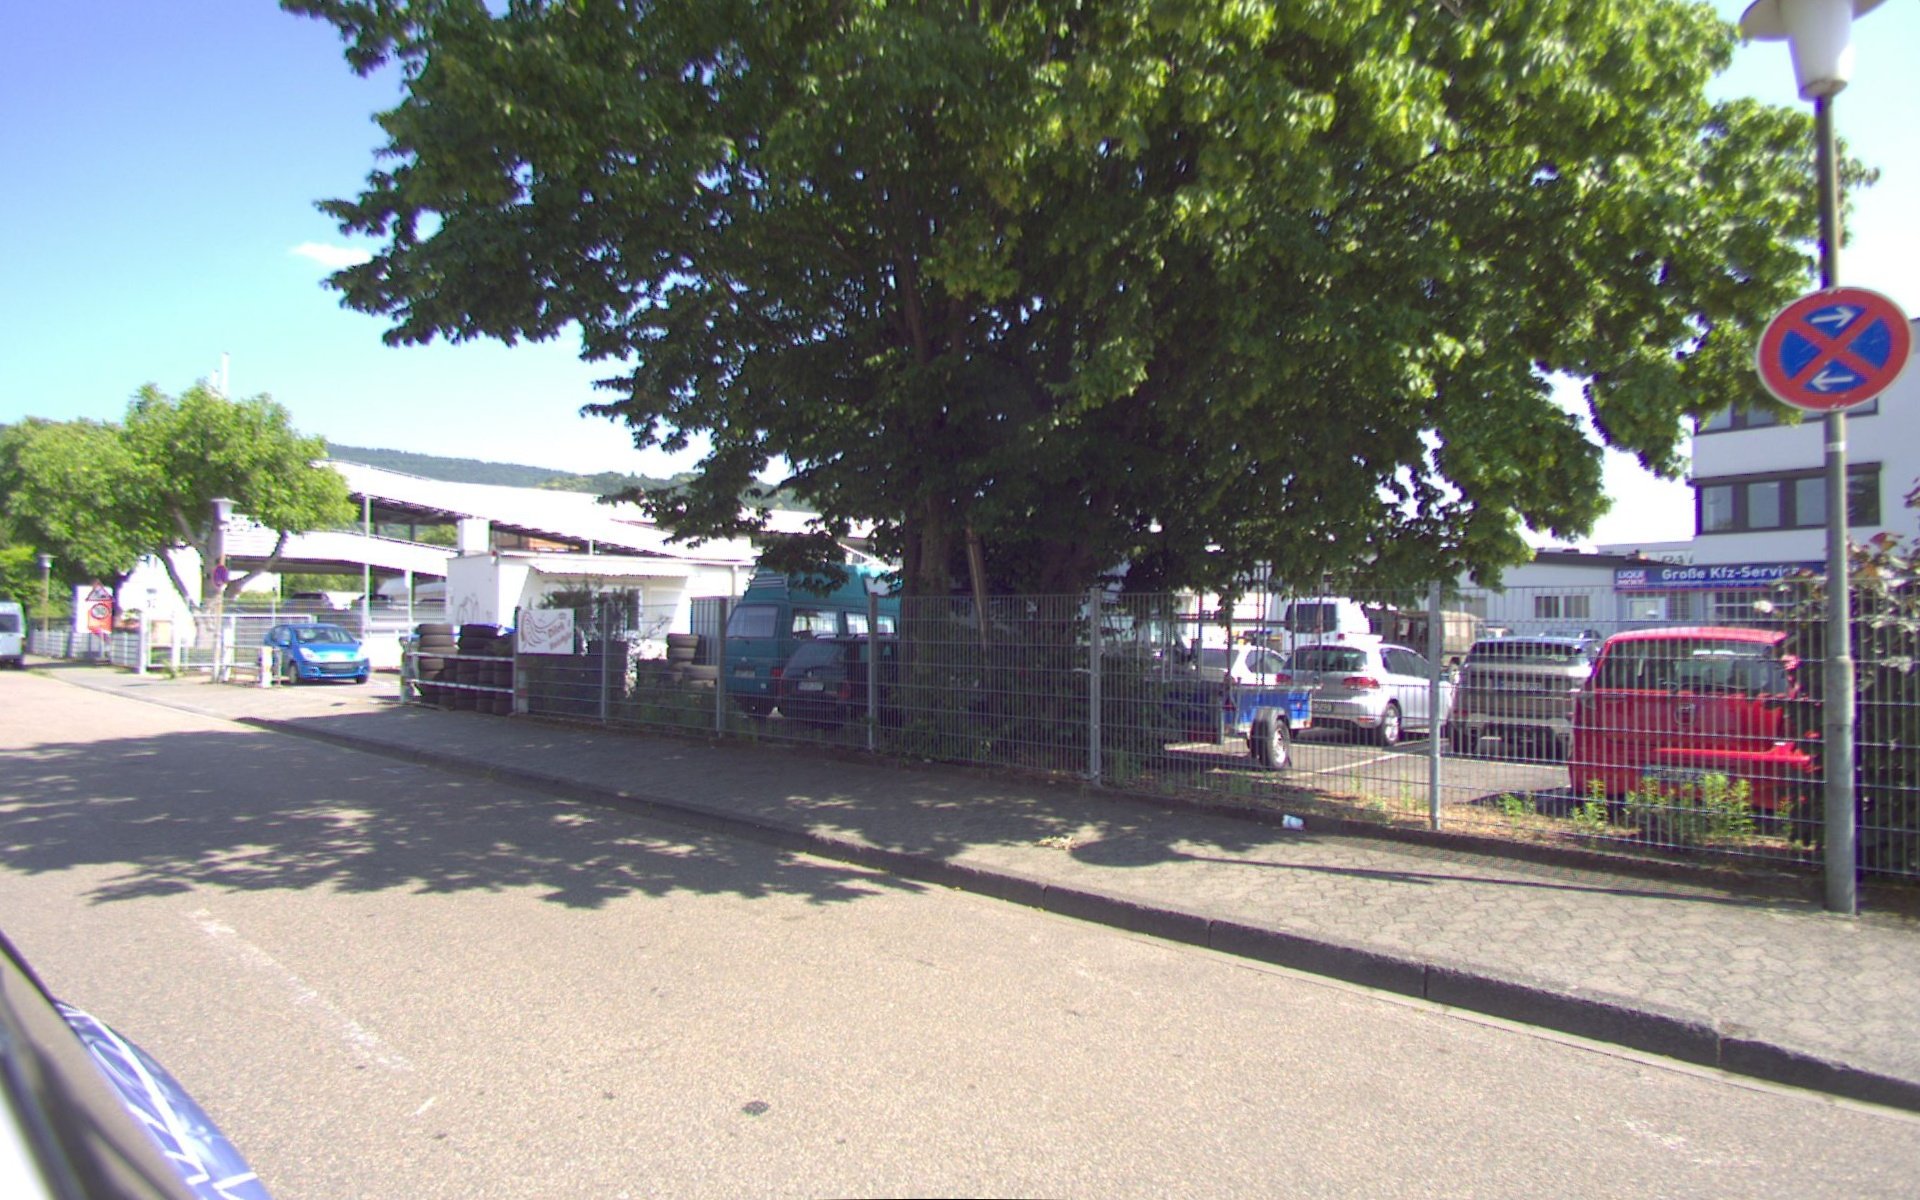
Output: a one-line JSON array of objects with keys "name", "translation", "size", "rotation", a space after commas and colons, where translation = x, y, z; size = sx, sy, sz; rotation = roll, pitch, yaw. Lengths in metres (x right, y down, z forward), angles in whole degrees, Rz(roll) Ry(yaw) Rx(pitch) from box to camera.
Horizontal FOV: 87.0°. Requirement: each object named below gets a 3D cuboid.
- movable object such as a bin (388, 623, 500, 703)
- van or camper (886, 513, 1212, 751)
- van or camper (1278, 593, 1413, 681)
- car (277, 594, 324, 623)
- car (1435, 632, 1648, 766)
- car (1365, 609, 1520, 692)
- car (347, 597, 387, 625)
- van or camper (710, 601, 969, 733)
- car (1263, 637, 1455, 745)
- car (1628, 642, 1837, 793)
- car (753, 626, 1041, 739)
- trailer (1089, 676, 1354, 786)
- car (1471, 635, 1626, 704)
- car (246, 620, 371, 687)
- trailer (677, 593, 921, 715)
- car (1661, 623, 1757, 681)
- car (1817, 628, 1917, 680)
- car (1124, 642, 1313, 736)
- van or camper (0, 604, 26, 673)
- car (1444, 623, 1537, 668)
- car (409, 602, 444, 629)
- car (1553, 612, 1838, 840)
[{"name": "movable object such as a bin", "translation": [-9.804, 1.145, 19.210], "size": [1.364, 1.368, 2.105], "rotation": [-1, 0, -43]}, {"name": "van or camper", "translation": [1.351, 0.431, 13.394], "size": [1.846, 2.596, 4.604], "rotation": [-1, -2, 43]}, {"name": "van or camper", "translation": [11.091, 1.034, 28.956], "size": [4.531, 2.323, 1.783], "rotation": [2, -2, -42]}, {"name": "car", "translation": [-34.478, 0.477, 52.964], "size": [1.680, 1.469, 3.536], "rotation": [1, -2, -27]}, {"name": "car", "translation": [8.137, 1.237, 14.002], "size": [1.973, 1.560, 3.948], "rotation": [-1, -3, 39]}, {"name": "car", "translation": [12.955, 1.332, 27.092], "size": [4.507, 2.029, 2.061], "rotation": [2, -3, -40]}, {"name": "car", "translation": [-32.229, 0.594, 55.101], "size": [1.680, 1.469, 3.536], "rotation": [-1, 0, -27]}, {"name": "van or camper", "translation": [-1.902, 0.996, 16.922], "size": [1.774, 1.877, 4.137], "rotation": [-1, 0, 43]}, {"name": "car", "translation": [6.297, 1.316, 15.762], "size": [1.684, 1.463, 3.734], "rotation": [-2, -3, 40]}, {"name": "car", "translation": [9.129, 1.253, 11.894], "size": [1.653, 1.484, 3.036], "rotation": [-1, -2, 43]}, {"name": "car", "translation": [-0.798, 1.091, 14.503], "size": [1.861, 1.397, 3.870], "rotation": [-2, -3, 45]}, {"name": "trailer", "translation": [3.092, 1.412, 11.657], "size": [1.612, 0.946, 3.246], "rotation": [-2, -3, 43]}, {"name": "car", "translation": [14.830, 1.682, 25.438], "size": [4.355, 1.569, 1.995], "rotation": [2, -3, -40]}, {"name": "car", "translation": [-16.019, 1.264, 24.822], "size": [3.523, 1.469, 1.624], "rotation": [-1, 0, 40]}, {"name": "trailer", "translation": [-3.163, 0.965, 20.695], "size": [1.999, 2.171, 4.719], "rotation": [-1, 0, 42]}, {"name": "car", "translation": [23.660, 1.617, 31.925], "size": [2.000, 1.697, 3.943], "rotation": [-2, -3, 43]}, {"name": "car", "translation": [26.183, 1.544, 29.191], "size": [3.079, 1.437, 1.425], "rotation": [2, -3, -34]}, {"name": "car", "translation": [4.415, 1.405, 17.002], "size": [1.730, 1.389, 3.588], "rotation": [-1, -3, 40]}, {"name": "van or camper", "translation": [-35.043, 1.321, 36.065], "size": [4.683, 2.395, 2.002], "rotation": [-1, -3, 41]}, {"name": "car", "translation": [19.214, 1.621, 36.604], "size": [3.524, 1.433, 1.713], "rotation": [-1, 0, -39]}, {"name": "car", "translation": [-30.035, 0.835, 57.036], "size": [1.680, 1.469, 3.536], "rotation": [-1, 0, -27]}, {"name": "car", "translation": [6.208, 0.925, 8.408], "size": [1.518, 1.496, 3.341], "rotation": [-1, -4, 43]}]
